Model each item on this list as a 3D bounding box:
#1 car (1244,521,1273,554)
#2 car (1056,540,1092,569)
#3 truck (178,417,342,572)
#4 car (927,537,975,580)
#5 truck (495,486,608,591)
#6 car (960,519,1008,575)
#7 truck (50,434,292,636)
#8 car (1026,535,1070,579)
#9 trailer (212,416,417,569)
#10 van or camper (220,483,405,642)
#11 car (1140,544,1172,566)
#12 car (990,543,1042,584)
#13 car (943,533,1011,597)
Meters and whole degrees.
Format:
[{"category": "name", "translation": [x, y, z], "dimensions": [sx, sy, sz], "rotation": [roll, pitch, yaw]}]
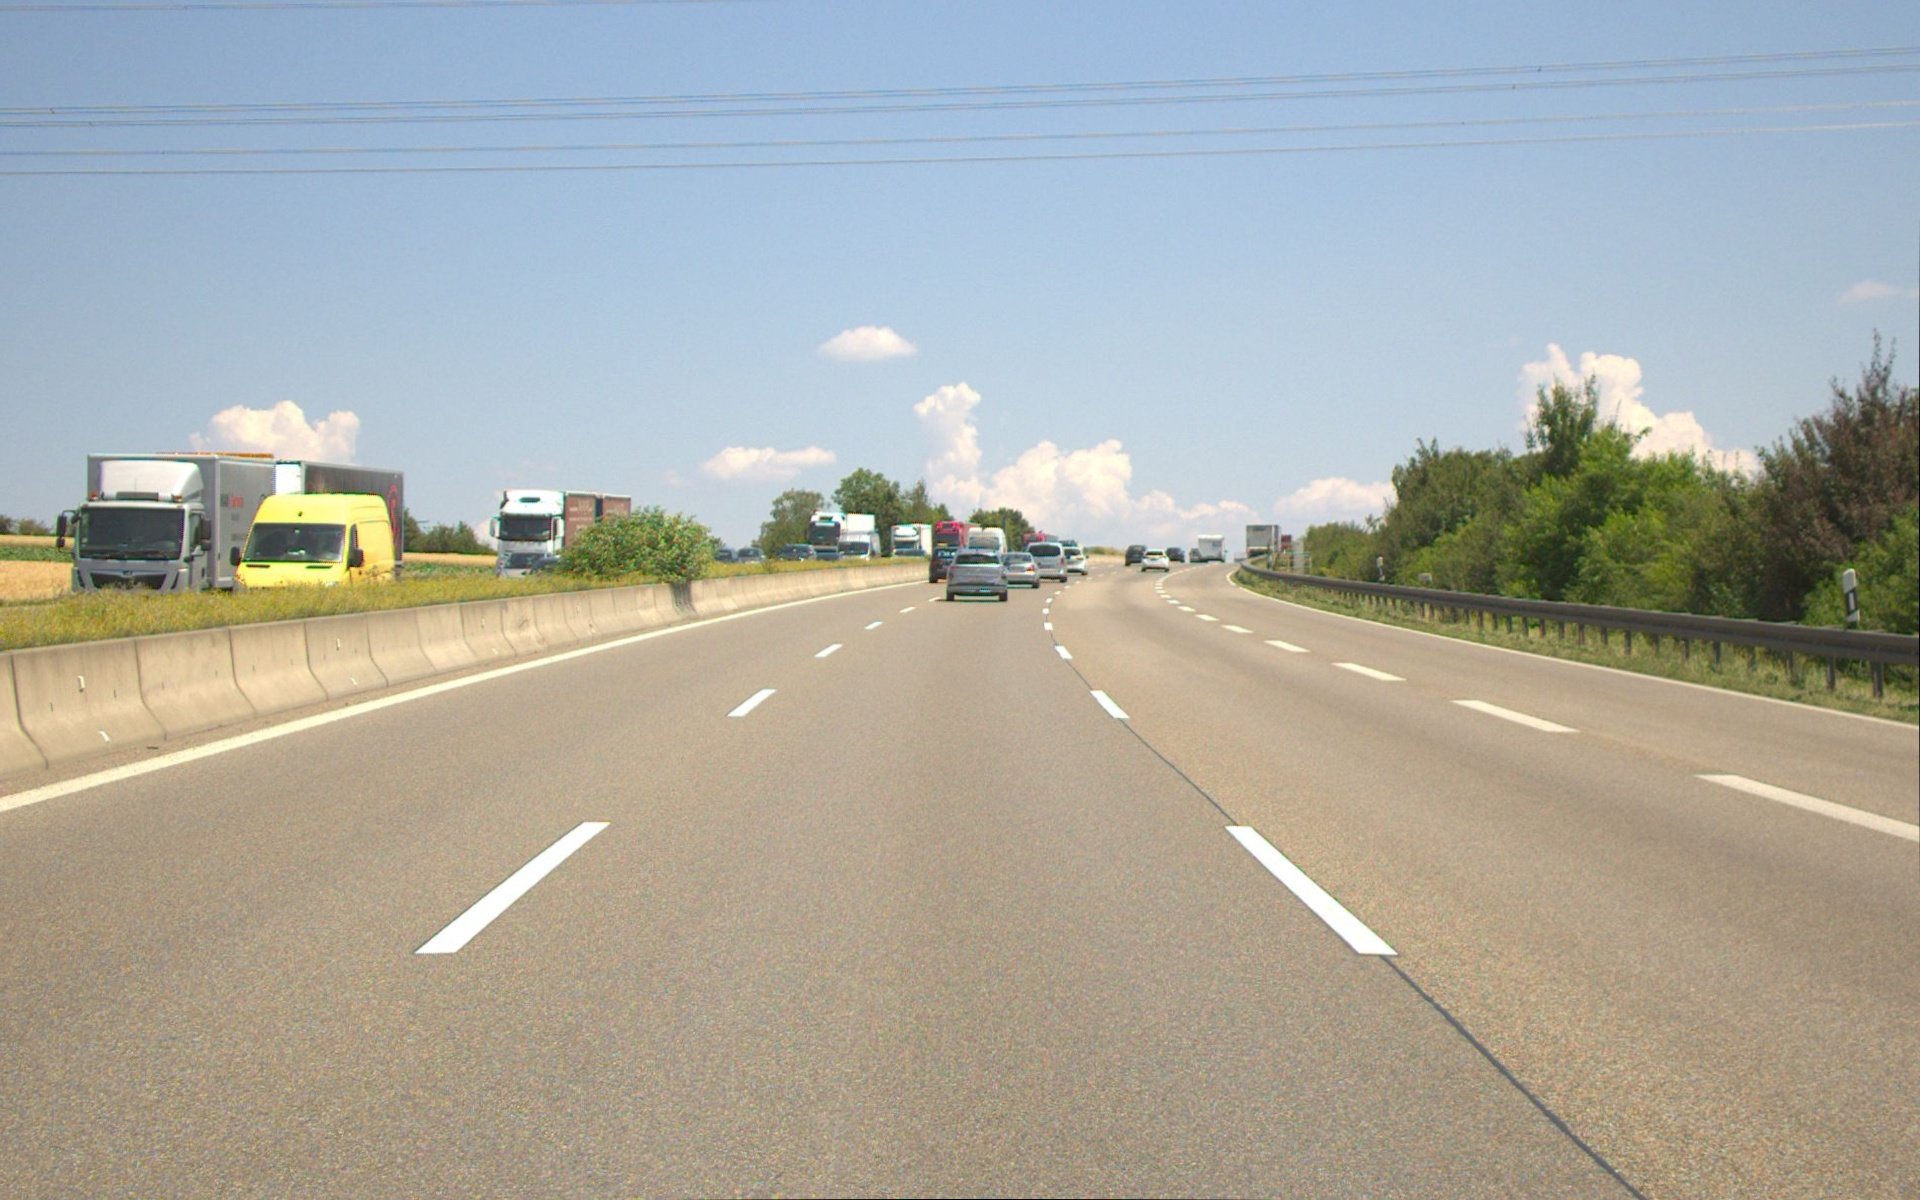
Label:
[{"category": "car", "translation": [20.687, -4.325, 238.086], "dimensions": [1.994, 2.293, 6.262], "rotation": [0, 1, 5]}, {"category": "car", "translation": [6.512, -2.587, 195.737], "dimensions": [1.994, 1.546, 4.000], "rotation": [2, 1, 2]}, {"category": "truck", "translation": [-18.904, -2.809, 93.228], "dimensions": [2.853, 4.013, 6.514], "rotation": [1, 1, 2]}, {"category": "car", "translation": [-0.405, -1.912, 155.930], "dimensions": [1.847, 1.854, 4.205], "rotation": [1, 2, 4]}, {"category": "truck", "translation": [-16.824, -2.545, 142.428], "dimensions": [2.888, 4.157, 10.622], "rotation": [1, 1, 3]}, {"category": "car", "translation": [1.226, -2.654, 173.803], "dimensions": [2.180, 2.616, 4.671], "rotation": [1, -2, 3]}, {"category": "truck", "translation": [-15.416, -1.296, 67.801], "dimensions": [2.936, 3.730, 7.780], "rotation": [1, 1, 0]}, {"category": "car", "translation": [4.117, -1.993, 159.583], "dimensions": [1.993, 1.897, 3.999], "rotation": [0, -2, 2]}, {"category": "trailer", "translation": [-18.575, -2.999, 99.989], "dimensions": [2.793, 4.091, 14.006], "rotation": [1, 1, 2]}, {"category": "van or camper", "translation": [-11.638, -0.699, 62.205], "dimensions": [2.084, 2.698, 6.139], "rotation": [1, 1, 1]}, {"category": "car", "translation": [12.770, -2.933, 223.396], "dimensions": [1.902, 1.437, 3.999], "rotation": [1, 1, 5]}, {"category": "car", "translation": [2.240, -1.436, 137.498], "dimensions": [1.993, 1.579, 4.000], "rotation": [0, 0, 2]}, {"category": "car", "translation": [0.505, -1.050, 104.318], "dimensions": [1.993, 1.744, 4.000], "rotation": [1, -2, 0]}]
